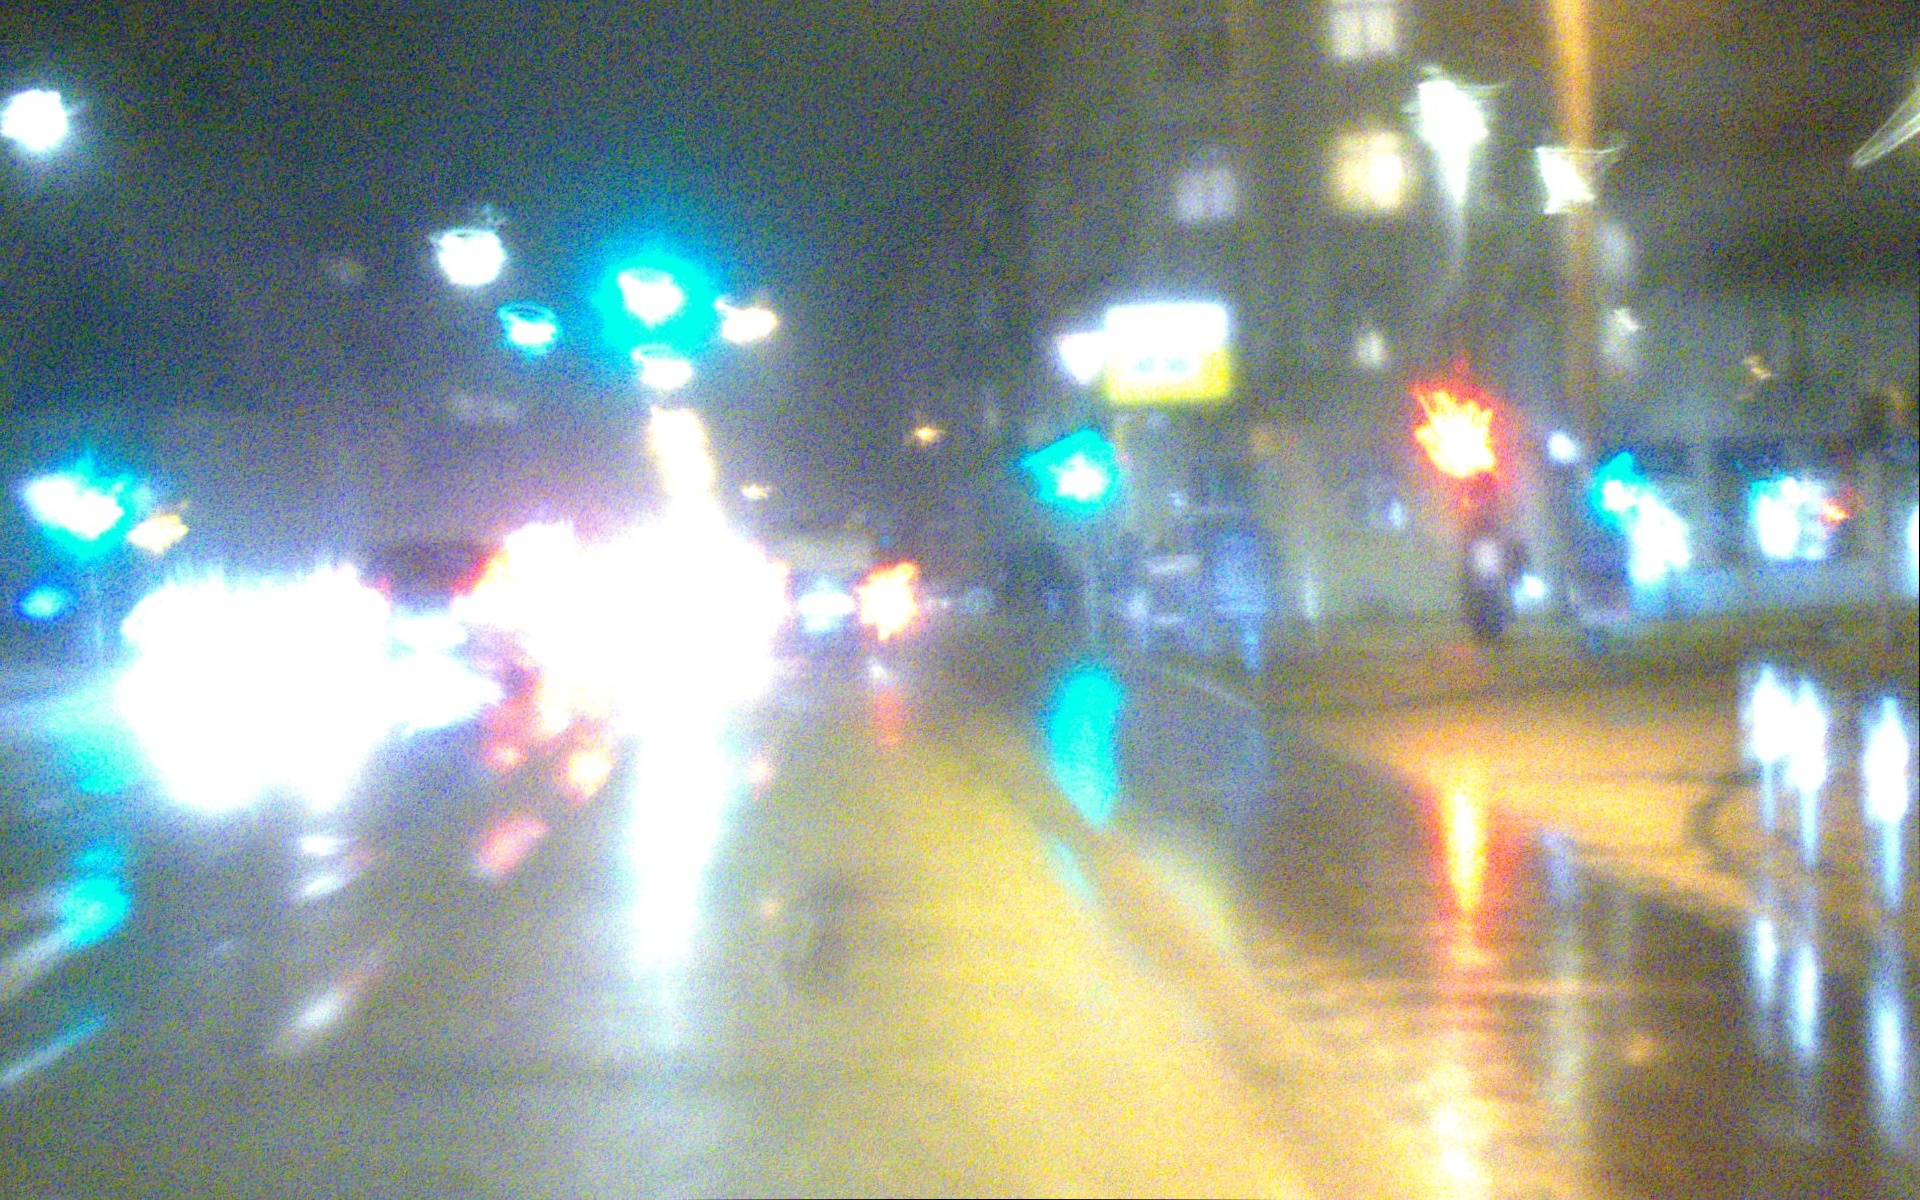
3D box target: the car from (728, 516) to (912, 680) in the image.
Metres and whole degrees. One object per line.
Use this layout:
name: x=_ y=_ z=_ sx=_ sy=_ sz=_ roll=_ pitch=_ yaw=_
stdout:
car: x=-1.852 y=-0.020 z=44.166 sx=2.168 sy=1.965 sz=4.302 roll=-1 pitch=0 yaw=-4

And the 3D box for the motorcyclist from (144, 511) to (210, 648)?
motorcyclist: x=-11.616 y=-0.310 z=51.015 sx=0.693 sy=2.007 sz=0.982 roll=-1 pitch=0 yaw=2

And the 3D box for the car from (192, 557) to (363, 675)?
car: x=-9.237 y=0.176 z=46.855 sx=1.852 sy=1.494 sz=4.770 roll=-1 pitch=1 yaw=-6

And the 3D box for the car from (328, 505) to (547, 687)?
car: x=-6.166 y=-0.082 z=41.110 sx=2.034 sy=1.947 sz=5.200 roll=-3 pitch=1 yaw=-3

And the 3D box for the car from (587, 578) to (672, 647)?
car: x=-7.640 y=0.298 z=79.203 sx=1.706 sy=1.537 sz=3.989 roll=-1 pitch=0 yaw=-9

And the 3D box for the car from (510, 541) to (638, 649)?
car: x=-5.787 y=-0.054 z=51.837 sx=1.817 sy=1.537 sz=4.727 roll=-1 pitch=0 yaw=-6

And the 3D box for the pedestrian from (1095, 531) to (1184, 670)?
pedestrian: x=2.374 y=0.004 z=45.625 sx=1.107 sy=1.819 sz=0.851 roll=-1 pitch=0 yaw=0

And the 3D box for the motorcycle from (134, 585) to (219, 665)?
motorcycle: x=-11.615 y=0.361 z=51.011 sx=0.701 sy=1.135 sz=2.175 roll=-1 pitch=0 yaw=2

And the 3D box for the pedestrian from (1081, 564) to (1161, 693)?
pedestrian: x=2.300 y=0.401 z=49.111 sx=1.107 sy=1.819 sz=0.851 roll=-1 pitch=0 yaw=3

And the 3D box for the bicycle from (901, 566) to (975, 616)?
bicycle: x=-0.611 y=-0.244 z=93.645 sx=1.896 sy=1.247 sz=0.596 roll=-3 pitch=-1 yaw=-9

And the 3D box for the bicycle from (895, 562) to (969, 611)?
bicycle: x=-0.762 y=-0.357 z=94.333 sx=1.896 sy=1.247 sz=0.596 roll=-3 pitch=-1 yaw=-9

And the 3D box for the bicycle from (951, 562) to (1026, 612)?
bicycle: x=0.768 y=-0.352 z=93.034 sx=1.896 sy=1.247 sz=0.710 roll=-3 pitch=-1 yaw=-9

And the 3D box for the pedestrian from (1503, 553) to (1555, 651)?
pedestrian: x=12.008 y=0.035 z=72.526 sx=0.974 sy=2.006 sz=1.015 roll=-2 pitch=2 yaw=7
